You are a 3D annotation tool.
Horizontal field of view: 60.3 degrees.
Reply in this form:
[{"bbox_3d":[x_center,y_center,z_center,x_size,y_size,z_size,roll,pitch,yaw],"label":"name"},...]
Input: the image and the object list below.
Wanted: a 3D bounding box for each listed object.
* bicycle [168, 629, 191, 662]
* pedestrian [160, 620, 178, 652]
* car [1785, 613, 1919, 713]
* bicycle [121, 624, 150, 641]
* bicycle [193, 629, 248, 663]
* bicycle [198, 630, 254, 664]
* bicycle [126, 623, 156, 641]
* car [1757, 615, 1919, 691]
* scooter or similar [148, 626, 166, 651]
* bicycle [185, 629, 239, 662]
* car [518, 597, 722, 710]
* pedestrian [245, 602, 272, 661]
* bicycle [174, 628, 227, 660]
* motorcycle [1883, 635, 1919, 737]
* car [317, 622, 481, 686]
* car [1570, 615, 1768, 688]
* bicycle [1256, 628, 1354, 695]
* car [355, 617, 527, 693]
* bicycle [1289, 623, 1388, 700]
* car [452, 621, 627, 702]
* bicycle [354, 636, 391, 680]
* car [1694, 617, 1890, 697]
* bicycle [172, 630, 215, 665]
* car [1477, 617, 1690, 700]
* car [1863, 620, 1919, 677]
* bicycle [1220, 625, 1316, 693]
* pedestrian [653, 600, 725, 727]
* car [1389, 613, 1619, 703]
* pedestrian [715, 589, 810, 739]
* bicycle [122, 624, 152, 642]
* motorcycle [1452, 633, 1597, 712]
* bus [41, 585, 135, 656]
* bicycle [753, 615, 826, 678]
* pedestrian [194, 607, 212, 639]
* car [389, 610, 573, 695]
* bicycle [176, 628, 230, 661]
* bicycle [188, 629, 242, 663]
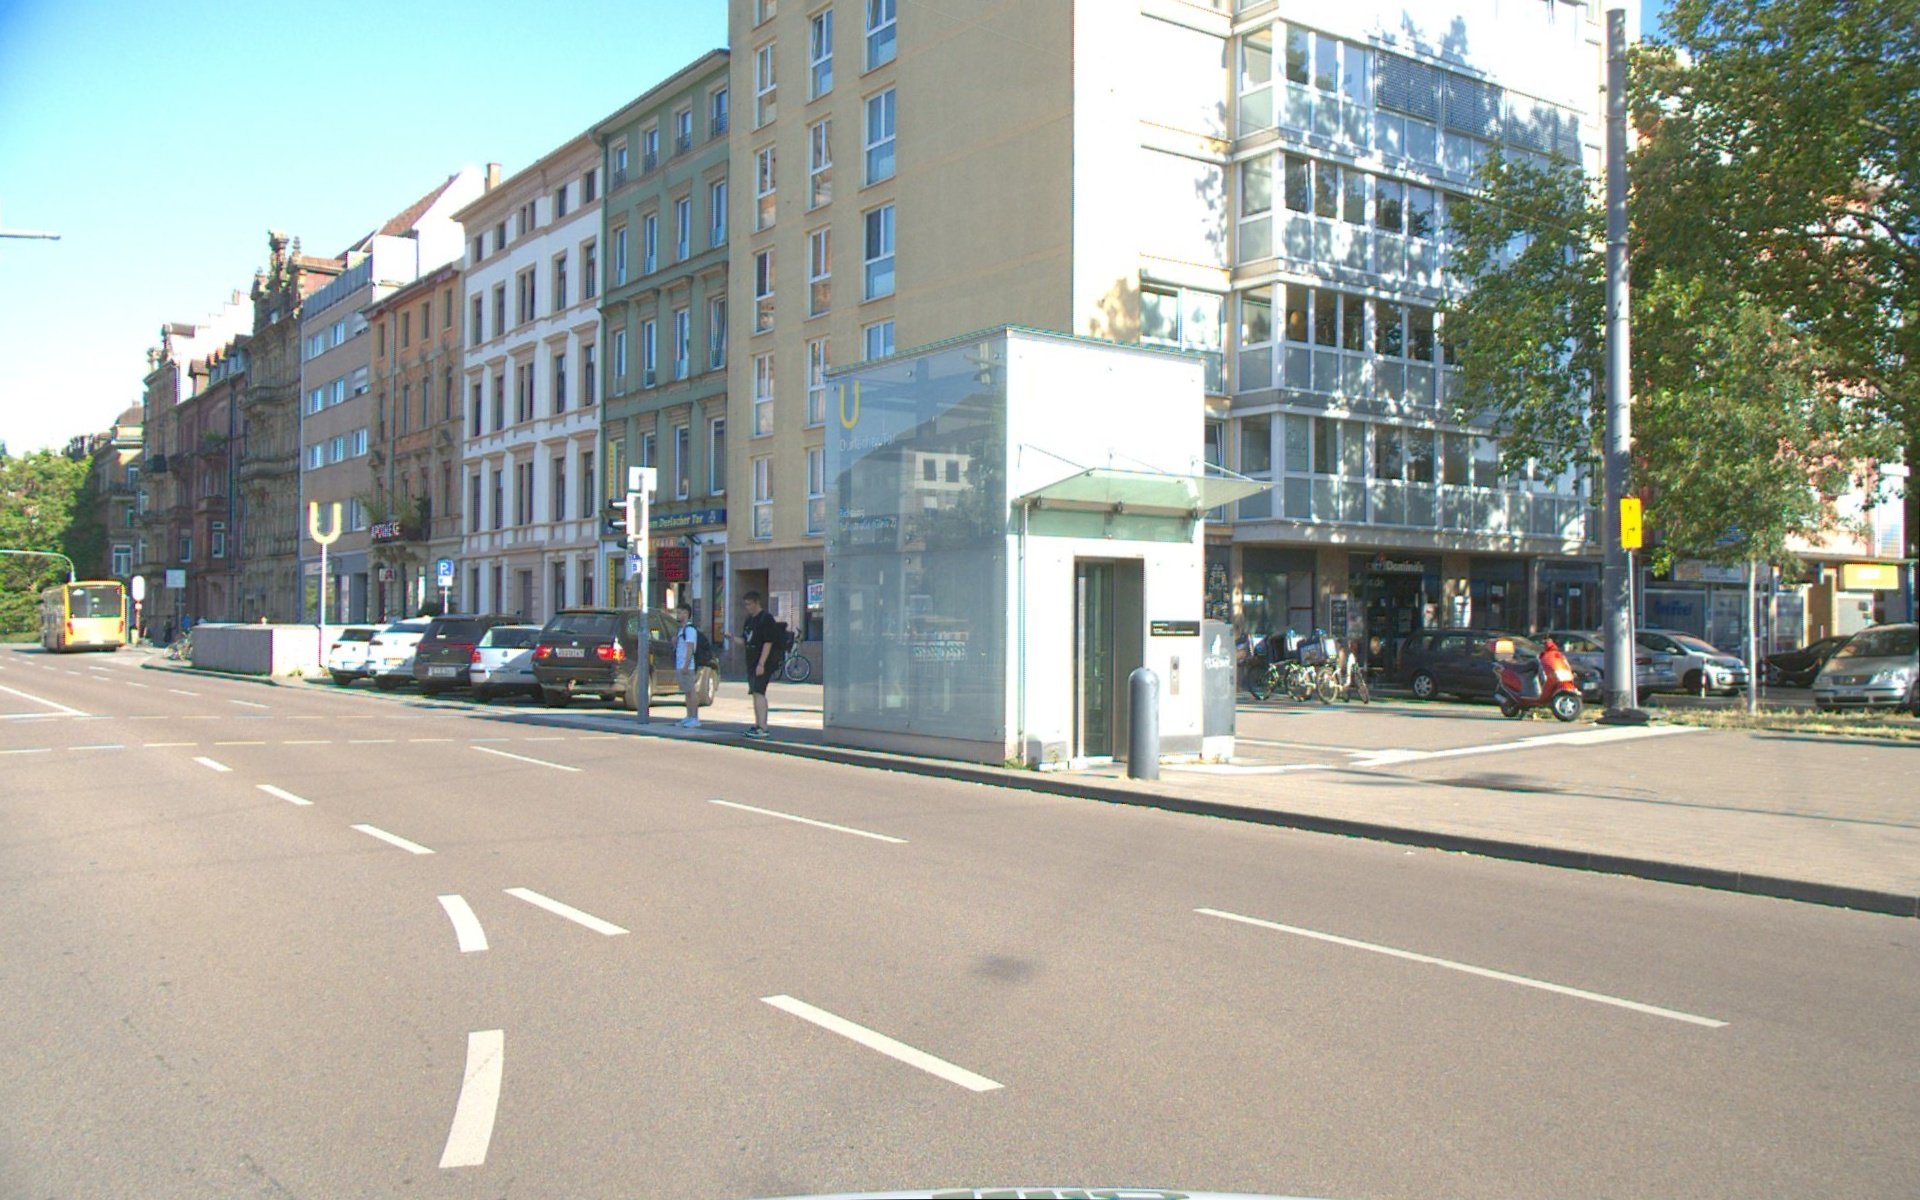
[{"bbox_3d":[-28.528,1.659,60.436,0.464,1.167,1.749,2,-1,-34],"label":"bicycle"},{"bbox_3d":[-49.000,2.240,102.407,0.815,1.964,1.123,1,-1,-35],"label":"pedestrian"},{"bbox_3d":[17.383,1.137,30.854,3.954,1.728,1.898,-1,-3,-35],"label":"car"},{"bbox_3d":[-60.557,2.387,121.447,0.482,1.260,1.878,-3,-2,42],"label":"bicycle"},{"bbox_3d":[-26.759,1.671,59.879,1.750,1.208,0.464,2,-1,-36],"label":"bicycle"},{"bbox_3d":[-26.220,1.685,59.110,1.750,1.199,0.464,2,-1,-36],"label":"bicycle"},{"bbox_3d":[-59.476,2.344,120.105,0.482,1.260,1.878,-3,-2,42],"label":"bicycle"},{"bbox_3d":[23.109,1.322,42.947,1.834,1.663,3.953,0,2,-34],"label":"car"},{"bbox_3d":[-41.938,2.003,86.367,0.429,1.271,1.274,-1,-1,-44],"label":"scooter or similar"},{"bbox_3d":[-27.644,1.685,61.161,1.750,1.208,0.464,2,-1,-36],"label":"bicycle"},{"bbox_3d":[-6.008,0.948,29.747,1.912,1.846,4.254,1,-2,14],"label":"car"},{"bbox_3d":[-24.904,1.114,58.712,0.744,2.048,0.689,0,2,-35],"label":"pedestrian"},{"bbox_3d":[-28.784,1.672,62.693,1.750,1.208,0.464,2,-1,-36],"label":"bicycle"},{"bbox_3d":[11.513,0.958,18.174,2.240,1.093,1.035,0,1,40],"label":"motorcycle"},{"bbox_3d":[-13.767,1.308,40.853,1.913,1.489,4.116,0,-1,14],"label":"car"},{"bbox_3d":[16.733,1.171,39.194,1.834,1.444,3.953,0,2,-34],"label":"car"},{"bbox_3d":[6.663,1.170,31.891,1.980,1.221,0.803,-1,-1,-41],"label":"bicycle"},{"bbox_3d":[-11.780,1.253,37.827,1.912,1.598,4.254,1,-2,11],"label":"car"},{"bbox_3d":[7.121,1.131,31.077,1.980,1.369,0.803,-1,-1,-41],"label":"bicycle"},{"bbox_3d":[-8.039,1.204,31.971,1.745,1.424,3.895,1,-2,11],"label":"car"},{"bbox_3d":[-15.443,1.532,43.491,0.409,1.130,1.096,2,-2,6],"label":"bicycle"},{"bbox_3d":[20.538,1.354,40.986,1.834,1.663,3.953,0,2,-34],"label":"car"},{"bbox_3d":[-26.994,1.661,58.236,1.733,1.167,0.469,1,-1,32],"label":"bicycle"},{"bbox_3d":[13.234,1.194,35.300,1.834,1.444,3.953,0,2,-34],"label":"car"},{"bbox_3d":[27.197,1.377,45.286,1.834,1.444,3.953,0,2,-34],"label":"car"},{"bbox_3d":[6.106,1.146,32.725,1.980,1.270,0.803,-1,-1,-41],"label":"bicycle"},{"bbox_3d":[-3.835,0.890,23.399,0.739,1.758,0.694,-1,-1,39],"label":"pedestrian"},{"bbox_3d":[11.025,1.123,33.744,1.837,1.508,4.171,-1,2,-38],"label":"car"},{"bbox_3d":[-2.382,0.758,19.987,0.849,1.758,0.795,0,-1,23],"label":"pedestrian"},{"bbox_3d":[-60.202,2.409,120.987,0.482,1.260,1.878,-3,-2,42],"label":"bicycle"},{"bbox_3d":[8.062,1.028,23.683,0.872,1.065,1.780,-1,-1,-37],"label":"motorcycle"},{"bbox_3d":[-43.394,1.006,82.033,2.692,3.237,12.387,0,0,-35],"label":"bus"},{"bbox_3d":[-4.194,1.122,40.526,0.920,1.380,2.206,0,2,-31],"label":"bicycle"},{"bbox_3d":[-47.326,1.446,103.363,0.815,1.964,1.123,1,-1,-35],"label":"pedestrian"},{"bbox_3d":[-9.971,1.097,34.817,1.912,1.626,4.254,1,-2,12],"label":"car"},{"bbox_3d":[-28.489,1.686,62.272,1.777,1.208,0.464,2,-1,-36],"label":"bicycle"},{"bbox_3d":[-27.349,1.686,60.741,1.750,1.208,0.464,2,-1,-36],"label":"bicycle"}]
